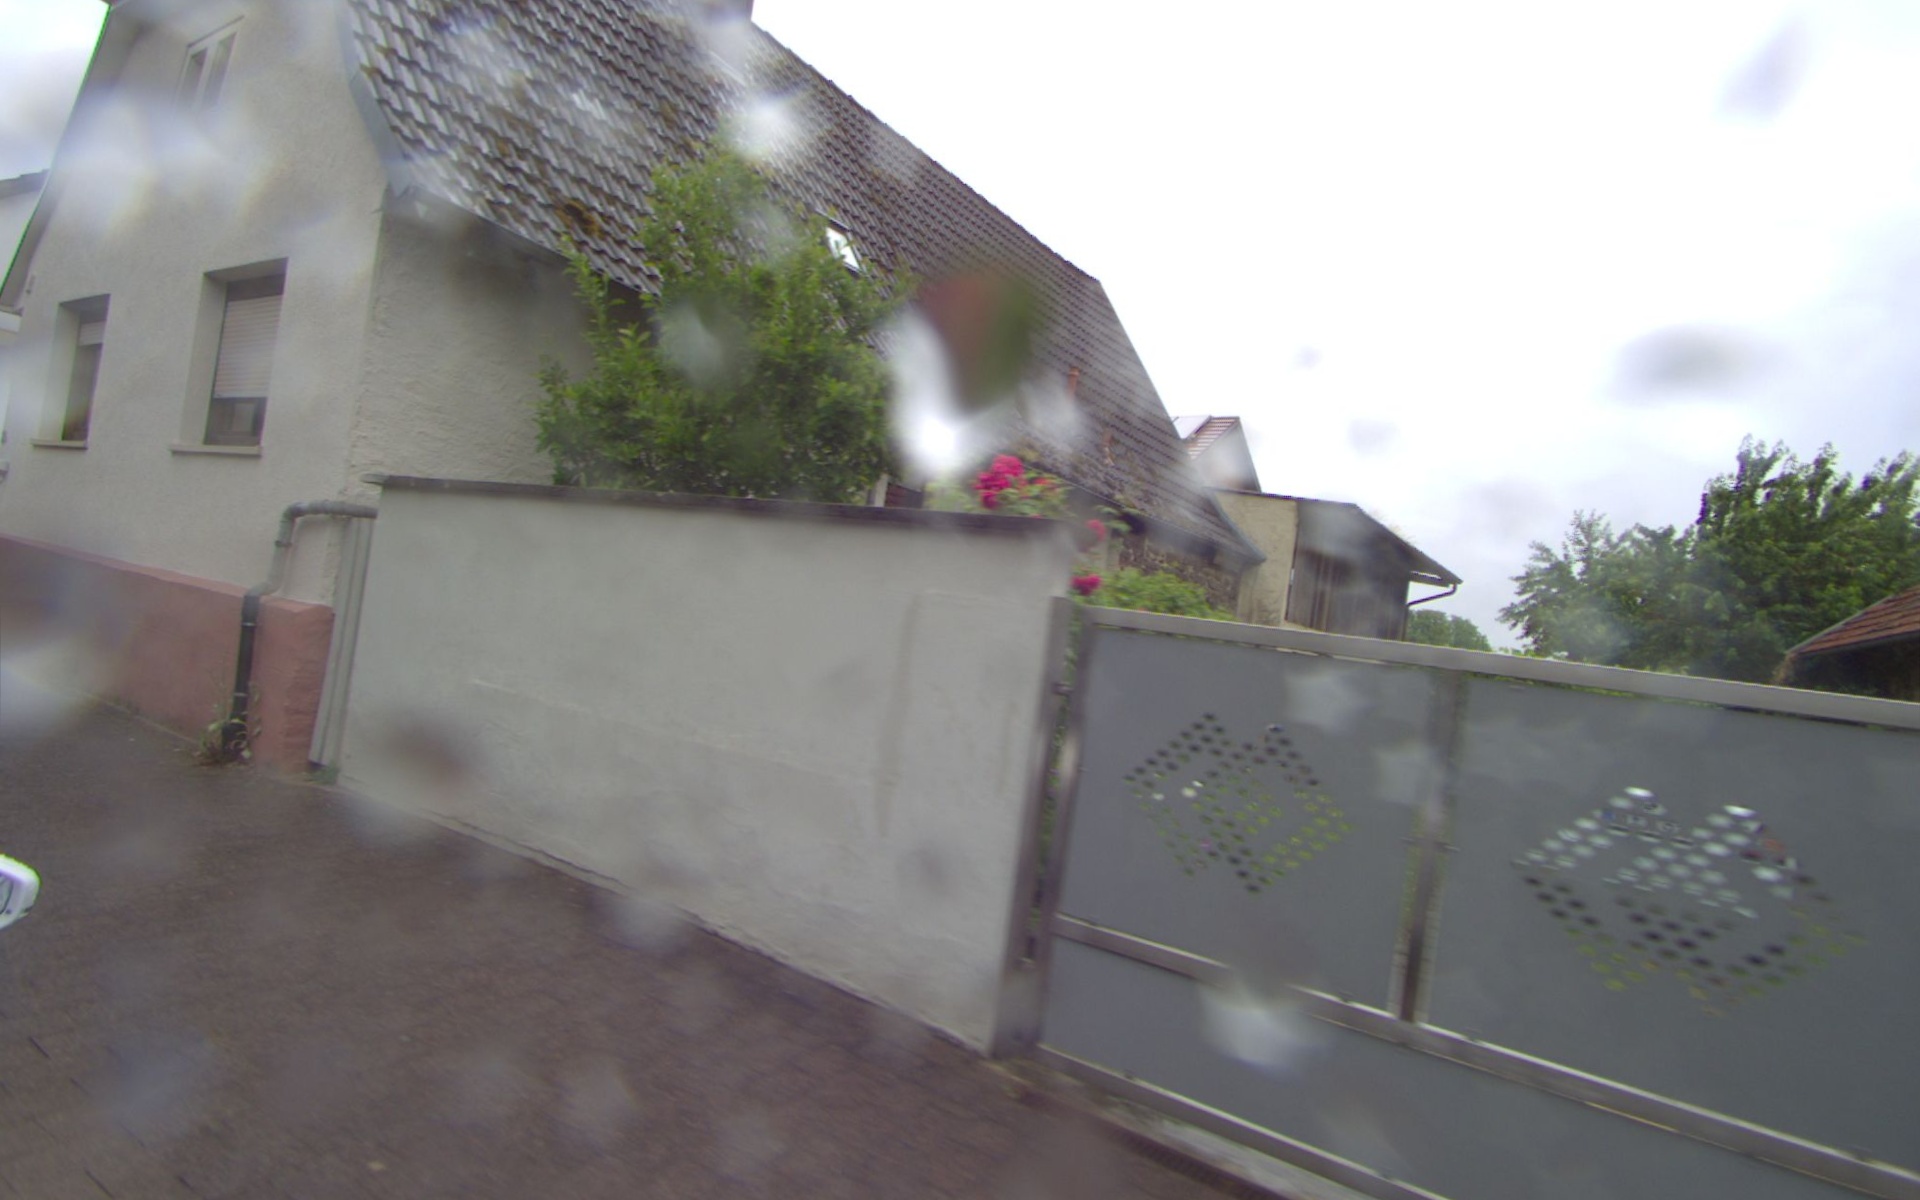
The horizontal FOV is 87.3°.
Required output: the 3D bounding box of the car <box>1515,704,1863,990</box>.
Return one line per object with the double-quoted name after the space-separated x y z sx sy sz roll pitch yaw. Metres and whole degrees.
5.555 1.771 8.077 1.710 1.473 3.710 6 -4 31 "car"
